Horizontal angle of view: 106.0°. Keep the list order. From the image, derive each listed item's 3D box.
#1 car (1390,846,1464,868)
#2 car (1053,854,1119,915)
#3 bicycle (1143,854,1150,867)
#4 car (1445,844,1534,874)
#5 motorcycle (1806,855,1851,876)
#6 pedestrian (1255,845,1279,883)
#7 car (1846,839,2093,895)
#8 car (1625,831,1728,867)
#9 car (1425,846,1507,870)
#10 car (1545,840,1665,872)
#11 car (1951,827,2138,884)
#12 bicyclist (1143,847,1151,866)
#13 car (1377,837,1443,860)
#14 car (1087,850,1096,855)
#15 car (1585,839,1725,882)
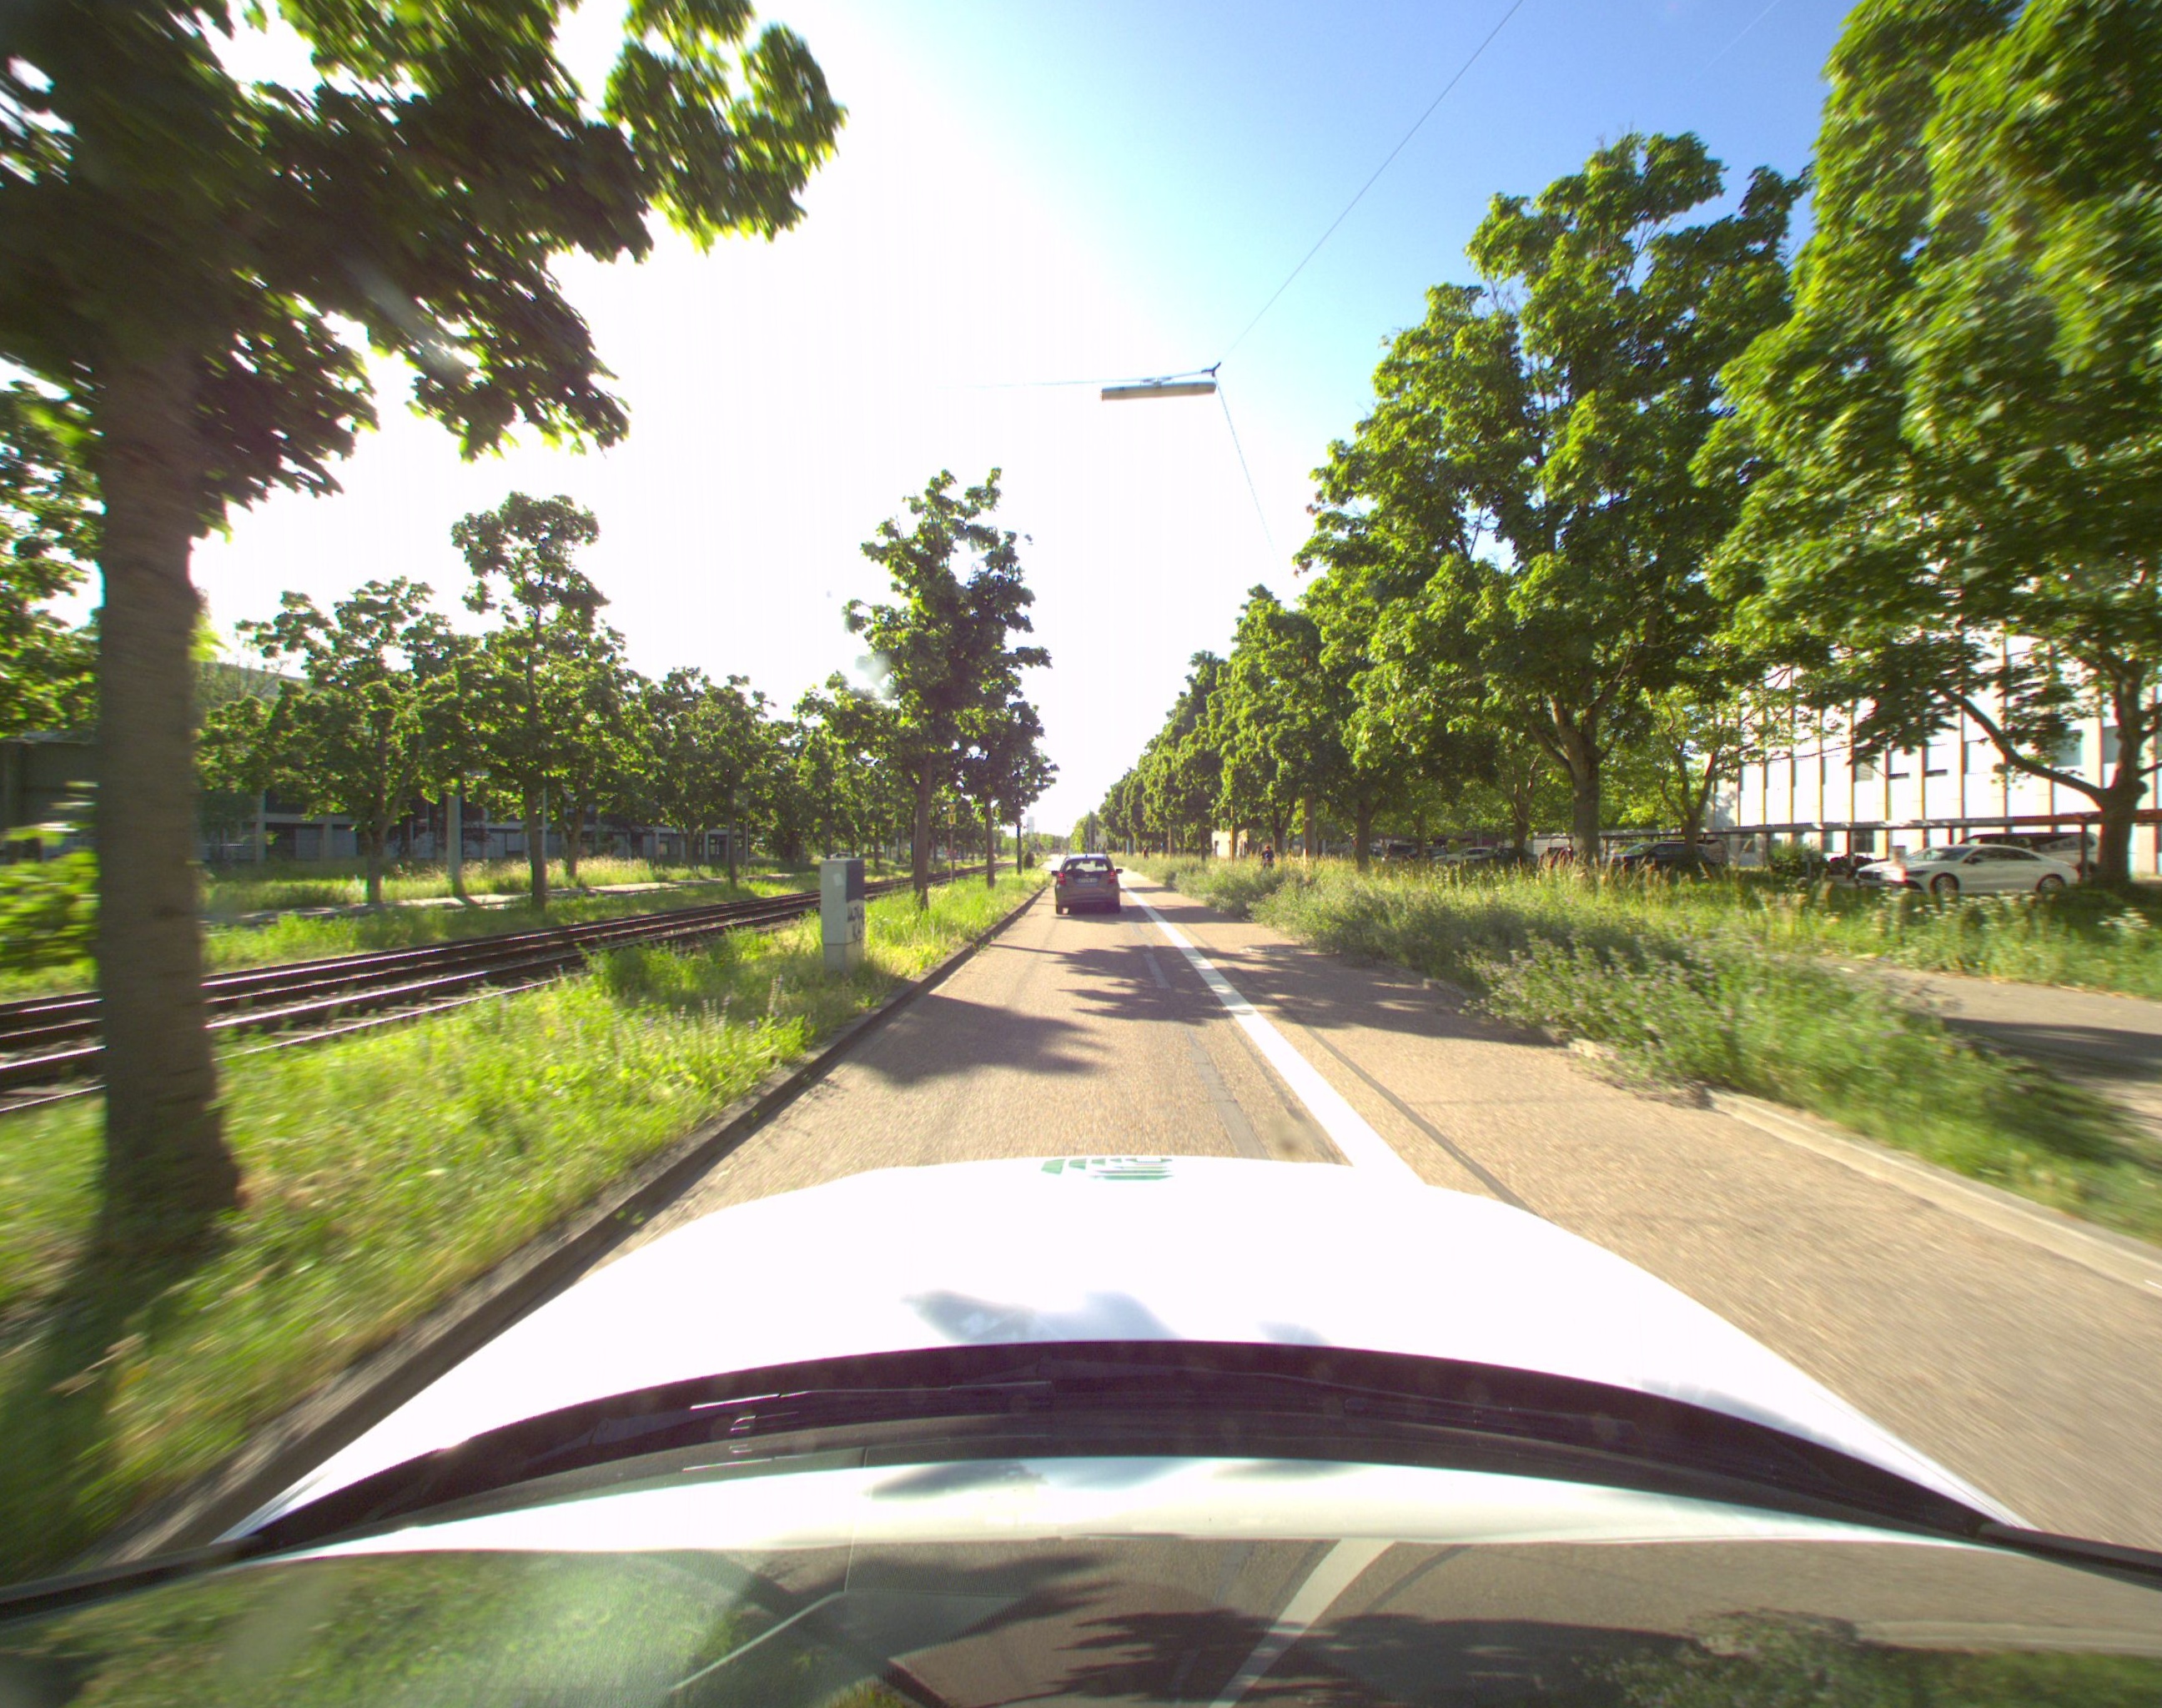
[{"bbox_3d":[23.573,0.195,55.601,4.337,1.459,1.690,-1,0,3],"label":"car"},{"bbox_3d":[0.159,0.748,21.854,1.618,1.499,3.457,-1,0,1],"label":"car"},{"bbox_3d":[6.111,0.618,75.681,0.481,1.204,2.143,-1,-2,1],"label":"bicycle"},{"bbox_3d":[22.118,0.268,44.162,3.985,1.525,1.704,-1,0,-3],"label":"car"},{"bbox_3d":[34.984,0.546,38.129,1.644,0.970,0.538,-1,0,-1],"label":"motorcycle"},{"bbox_3d":[7.708,0.401,33.707,0.821,1.569,0.762,0,0,1],"label":"pedestrian"},{"bbox_3d":[23.124,0.312,21.296,4.685,1.271,1.806,-1,1,-3],"label":"car"},{"bbox_3d":[34.820,-0.304,47.678,4.568,2.013,1.959,-1,0,1],"label":"car"},{"bbox_3d":[23.284,0.216,49.390,4.147,1.432,1.826,0,0,3],"label":"car"},{"bbox_3d":[24.200,0.070,37.735,4.272,1.324,1.943,-1,1,5],"label":"car"},{"bbox_3d":[35.874,0.041,30.419,4.734,1.950,1.974,-1,0,-1],"label":"car"},{"bbox_3d":[6.138,0.219,75.594,0.681,1.720,0.902,-1,-1,-1],"label":"bicyclist"},{"bbox_3d":[23.398,-0.382,57.951,4.016,1.505,1.738,-1,0,0],"label":"car"},{"bbox_3d":[2.646,-0.372,209.950,1.772,1.386,3.862,-1,0,-6],"label":"car"},{"bbox_3d":[22.931,0.242,32.637,4.381,1.596,1.882,-1,0,-3],"label":"car"}]
